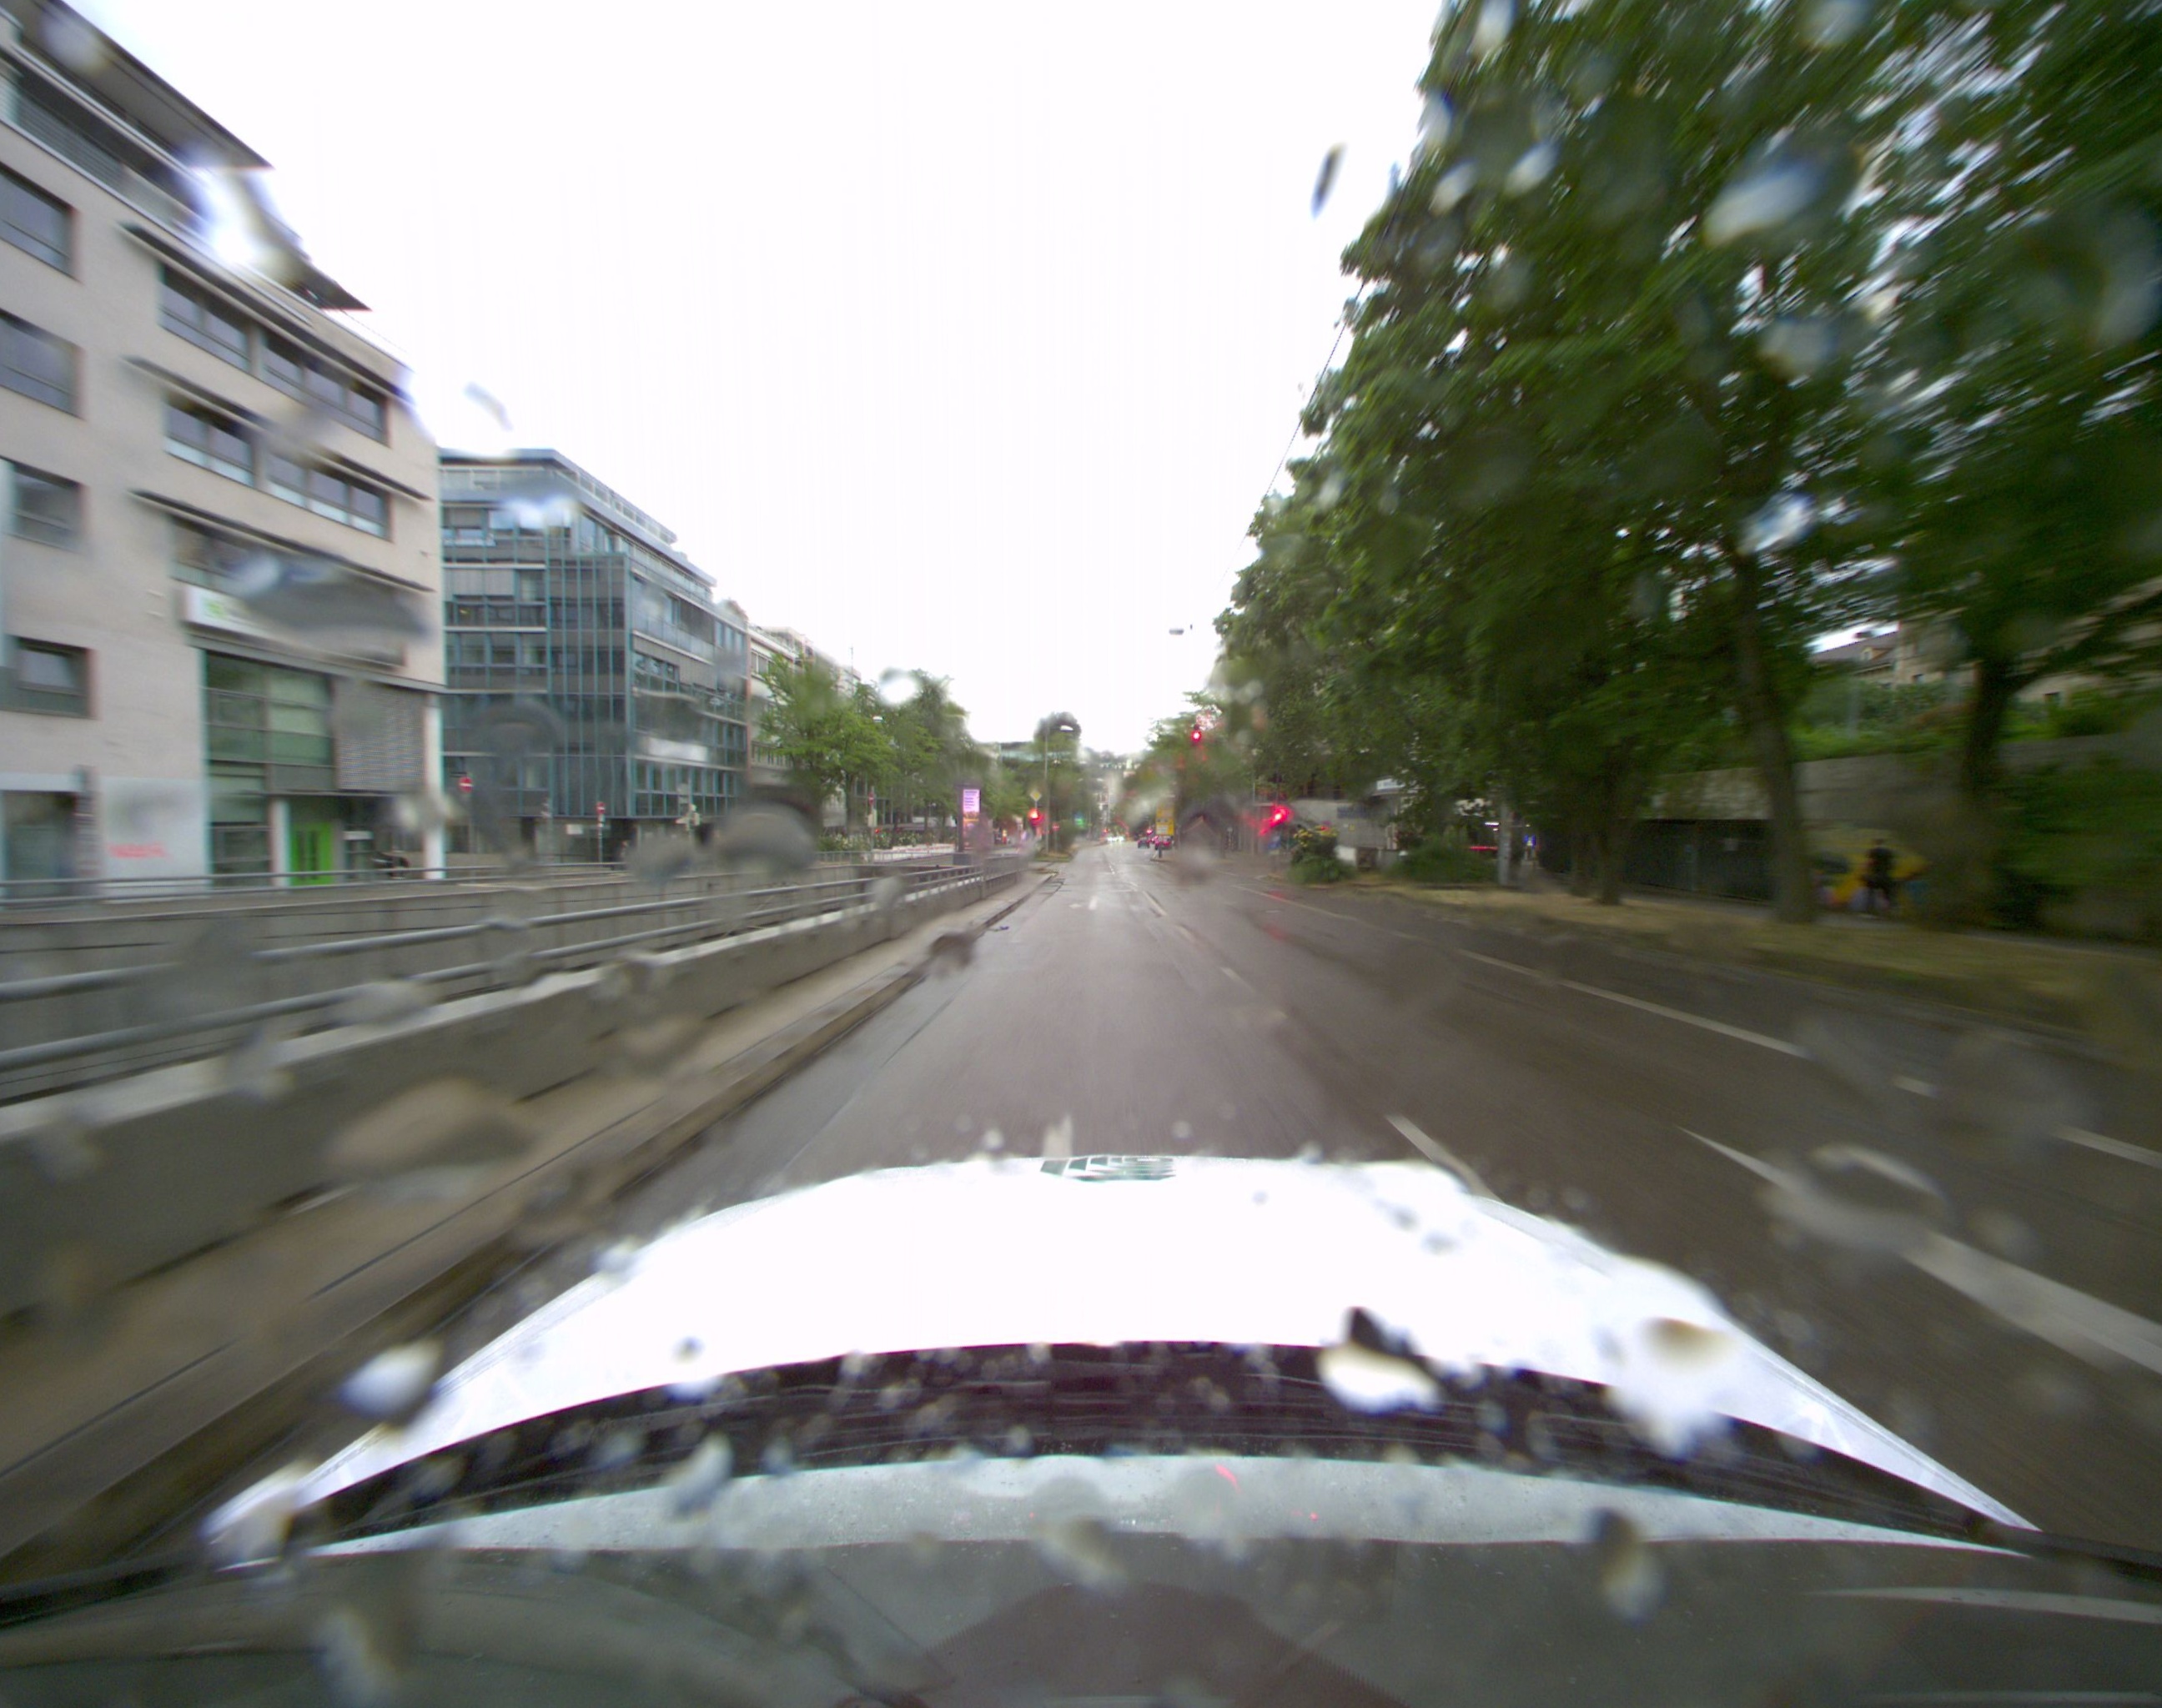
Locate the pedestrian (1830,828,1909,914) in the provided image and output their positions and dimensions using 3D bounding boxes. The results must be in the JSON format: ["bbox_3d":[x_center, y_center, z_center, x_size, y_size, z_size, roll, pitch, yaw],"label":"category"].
[{"bbox_3d":[17.600,0.358,18.206,0.802,1.864,1.059,-1,0,10],"label":"pedestrian"}]

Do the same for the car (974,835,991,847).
[{"bbox_3d":[-13.272,-1.763,110.387,1.774,1.555,3.894,1,3,0],"label":"car"}]

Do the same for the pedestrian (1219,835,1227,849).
[{"bbox_3d":[15.773,-1.331,90.695,0.782,1.557,0.533,1,0,4],"label":"pedestrian"}]

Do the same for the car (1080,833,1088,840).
[{"bbox_3d":[1.028,-5.348,255.061,2.118,2.164,5.203,1,1,4],"label":"car"}]

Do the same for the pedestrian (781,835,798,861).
[{"bbox_3d":[-21.428,-0.445,59.919,0.874,1.868,0.866,2,0,-1],"label":"pedestrian"}]

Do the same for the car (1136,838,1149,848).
[{"bbox_3d":[9.493,-1.709,126.407,1.740,1.519,4.108,1,1,1],"label":"car"}]

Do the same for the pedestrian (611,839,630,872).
[{"bbox_3d":[-22.911,0.070,40.501,0.662,1.671,0.488,0,0,0],"label":"pedestrian"}]

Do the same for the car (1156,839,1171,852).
[{"bbox_3d":[11.115,-1.185,110.187,1.892,1.684,3.917,1,1,5],"label":"car"}]

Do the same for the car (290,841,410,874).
[{"bbox_3d":[-33.276,0.143,37.154,3.869,1.426,1.812,0,0,2],"label":"car"}]

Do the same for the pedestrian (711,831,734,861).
[{"bbox_3d":[-22.704,-0.482,51.596,0.857,1.868,0.964,1,1,19],"label":"pedestrian"}]
